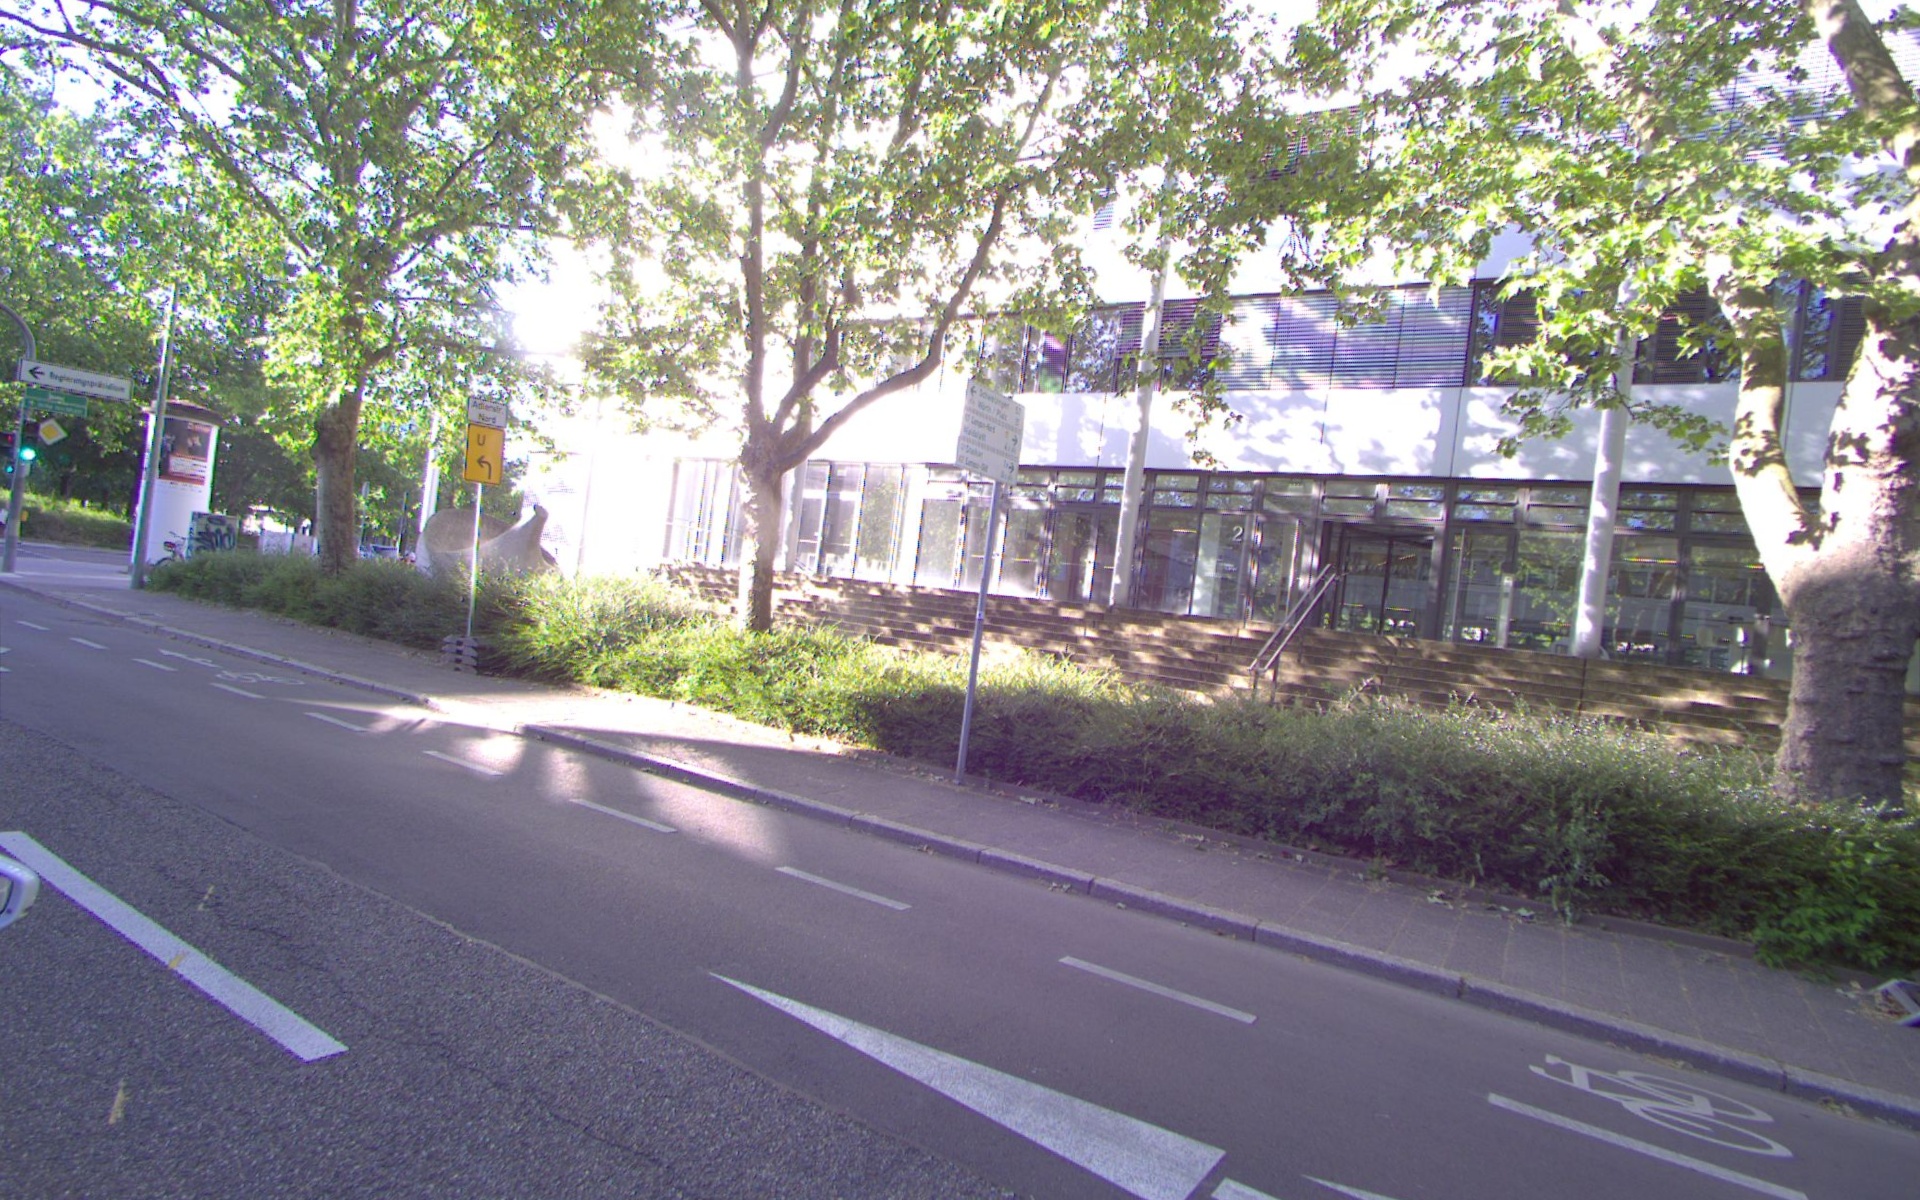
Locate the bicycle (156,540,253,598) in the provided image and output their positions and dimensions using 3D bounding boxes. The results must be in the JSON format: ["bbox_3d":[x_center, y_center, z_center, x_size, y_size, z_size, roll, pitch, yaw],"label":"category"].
[{"bbox_3d":[-15.912,-0.636,21.254,0.631,1.040,1.887,7,-2,-5],"label":"bicycle"}]

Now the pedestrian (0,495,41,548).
[{"bbox_3d":[-30.745,-2.554,32.796,0.893,1.563,0.638,7,-1,17],"label":"pedestrian"}]
